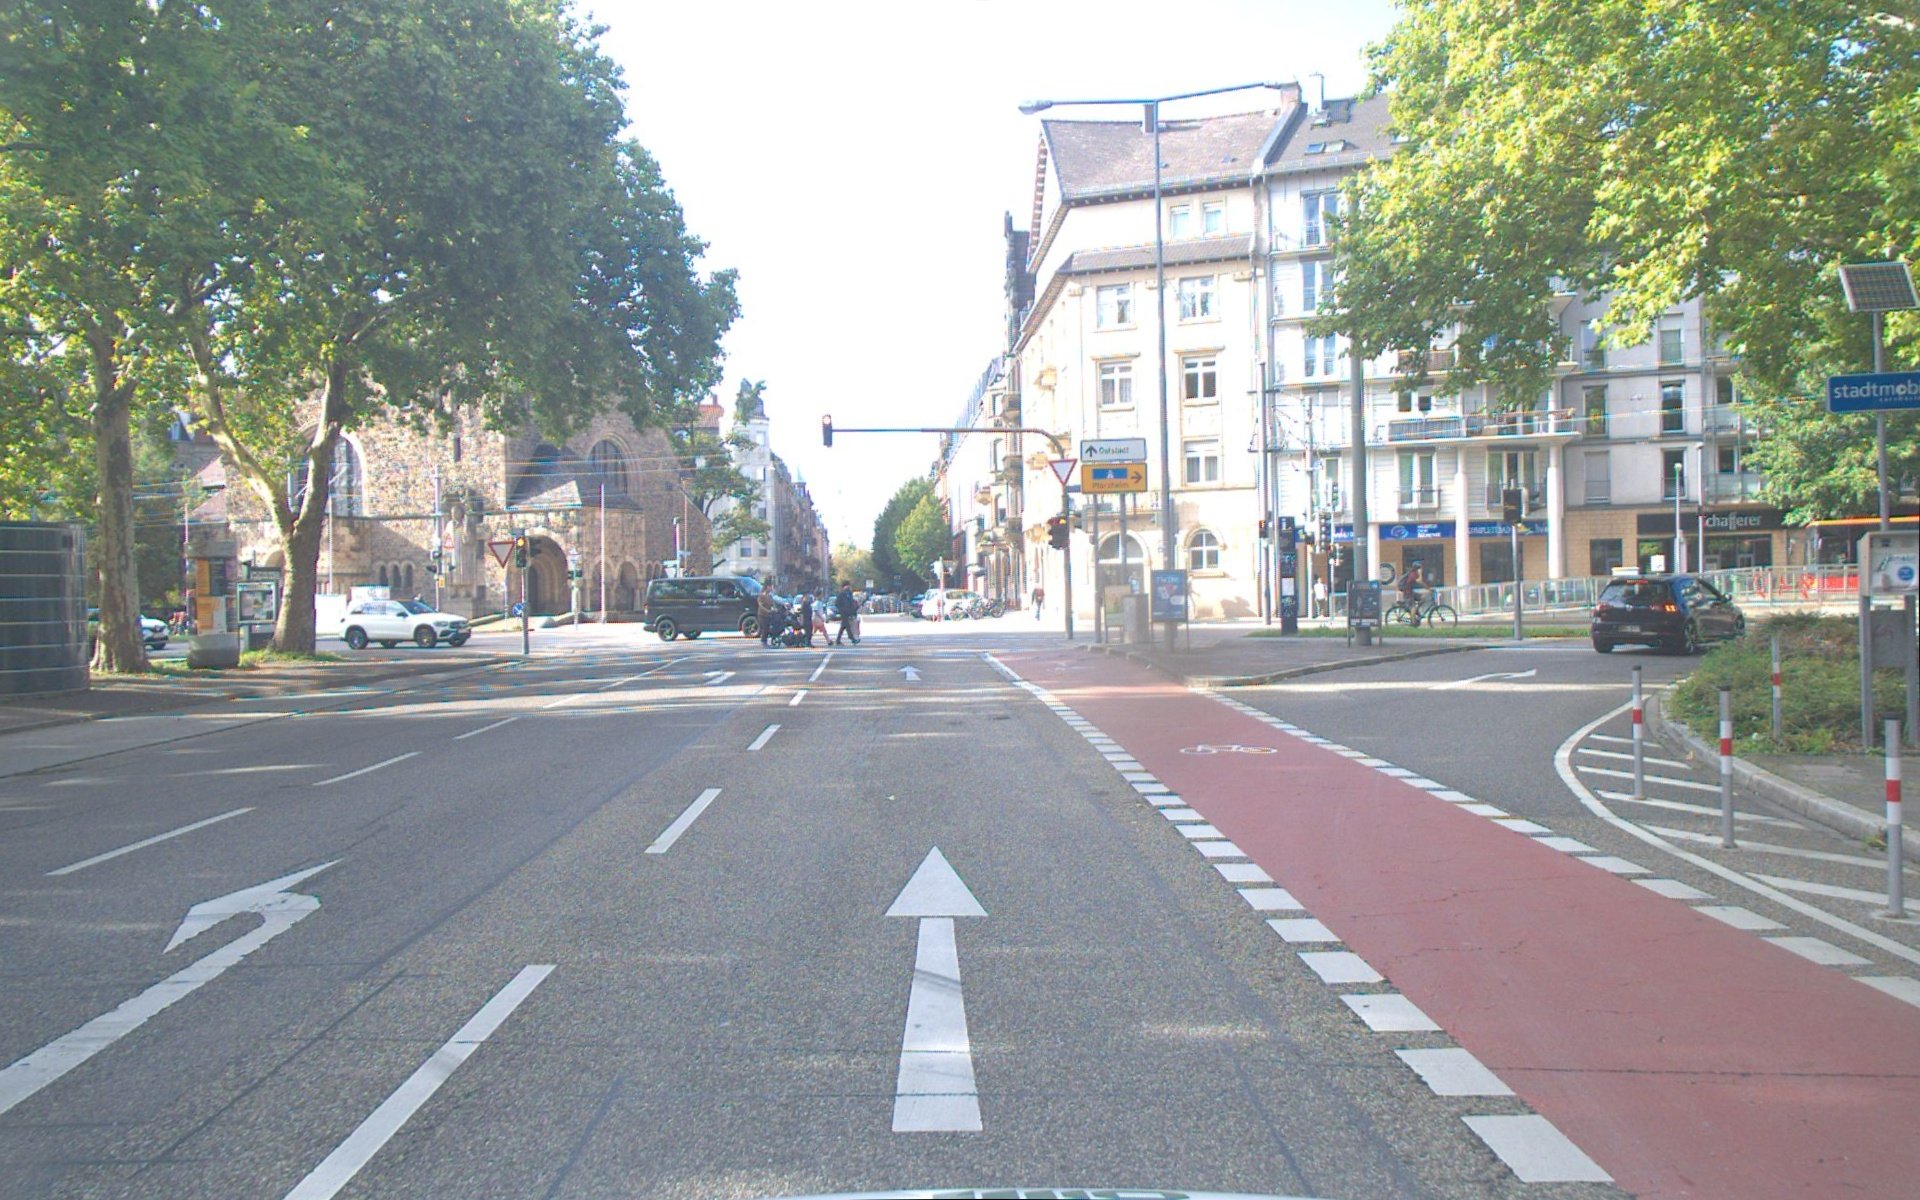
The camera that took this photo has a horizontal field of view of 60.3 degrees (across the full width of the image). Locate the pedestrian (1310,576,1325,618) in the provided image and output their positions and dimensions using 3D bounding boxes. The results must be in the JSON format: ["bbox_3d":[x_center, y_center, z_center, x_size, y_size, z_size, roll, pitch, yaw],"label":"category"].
[{"bbox_3d":[15.064,-0.139,69.687,0.485,1.744,0.527,1,0,21],"label":"pedestrian"}]

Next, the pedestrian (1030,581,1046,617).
[{"bbox_3d":[3.605,-0.040,76.066,0.550,1.652,0.600,-1,0,19],"label":"pedestrian"}]

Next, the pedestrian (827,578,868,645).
[{"bbox_3d":[-2.903,0.291,42.772,0.765,1.691,0.779,-1,1,20],"label":"pedestrian"}]

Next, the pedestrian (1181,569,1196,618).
[{"bbox_3d":[9.981,-0.302,72.209,0.515,2.129,0.497,1,0,23],"label":"pedestrian"}]

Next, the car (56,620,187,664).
[{"bbox_3d":[-30.894,1.540,60.959,4.158,1.505,1.900,-1,1,17],"label":"car"}]

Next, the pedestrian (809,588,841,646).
[{"bbox_3d":[-3.426,0.438,42.044,0.641,1.457,0.499,-1,0,20],"label":"pedestrian"}]

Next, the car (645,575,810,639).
[{"bbox_3d":[-7.360,0.206,52.482,4.741,1.903,2.033,-1,1,17],"label":"car"}]

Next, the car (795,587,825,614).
[{"bbox_3d":[-10.479,0.033,115.711,1.910,1.780,3.998,-1,0,-3],"label":"car"}]

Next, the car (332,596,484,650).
[{"bbox_3d":[-18.835,0.772,56.478,4.606,1.712,2.018,-1,1,17],"label":"car"}]

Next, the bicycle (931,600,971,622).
[{"bbox_3d":[-0.476,0.567,85.562,1.987,1.101,0.618,-2,1,-13],"label":"bicycle"}]

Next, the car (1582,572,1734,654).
[{"bbox_3d":[13.353,0.203,31.533,1.723,1.438,3.983,0,1,38],"label":"car"}]

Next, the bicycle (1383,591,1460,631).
[{"bbox_3d":[11.703,0.271,41.960,1.793,0.972,0.573,-1,0,24],"label":"bicycle"}]

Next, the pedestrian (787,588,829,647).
[{"bbox_3d":[-3.810,0.441,41.518,0.765,1.457,0.731,-1,1,20],"label":"pedestrian"}]

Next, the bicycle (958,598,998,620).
[{"bbox_3d":[0.933,0.450,85.699,1.987,1.101,0.618,-2,1,-13],"label":"bicycle"}]

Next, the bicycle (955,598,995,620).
[{"bbox_3d":[0.794,0.450,86.365,1.987,1.101,0.629,-2,1,-13],"label":"bicycle"}]

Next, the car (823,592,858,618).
[{"bbox_3d":[-6.887,0.285,95.818,1.910,1.396,3.998,-1,1,-3],"label":"car"}]

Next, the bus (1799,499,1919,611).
[{"bbox_3d":[34.750,-1.591,54.875,12.009,3.610,3.030,-1,1,21],"label":"bus"}]

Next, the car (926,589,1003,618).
[{"bbox_3d":[0.218,0.184,88.015,3.910,1.445,1.997,-2,0,-6],"label":"car"}]

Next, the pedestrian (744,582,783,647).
[{"bbox_3d":[-5.085,0.362,42.835,0.798,1.657,0.605,-1,0,22],"label":"pedestrian"}]

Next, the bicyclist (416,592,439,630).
[{"bbox_3d":[-24.666,0.508,76.548,0.712,1.691,0.716,-1,0,39],"label":"bicyclist"}]

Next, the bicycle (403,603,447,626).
[{"bbox_3d":[-24.751,0.681,76.512,0.625,0.997,1.917,-1,1,38],"label":"bicycle"}]

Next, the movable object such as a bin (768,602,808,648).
[{"bbox_3d":[-4.436,0.647,42.630,0.820,1.143,0.575,-1,0,21],"label":"movable object such as a bin"}]

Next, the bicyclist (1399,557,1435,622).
[{"bbox_3d":[11.605,-0.264,42.002,0.763,1.607,0.625,-1,0,23],"label":"bicyclist"}]
